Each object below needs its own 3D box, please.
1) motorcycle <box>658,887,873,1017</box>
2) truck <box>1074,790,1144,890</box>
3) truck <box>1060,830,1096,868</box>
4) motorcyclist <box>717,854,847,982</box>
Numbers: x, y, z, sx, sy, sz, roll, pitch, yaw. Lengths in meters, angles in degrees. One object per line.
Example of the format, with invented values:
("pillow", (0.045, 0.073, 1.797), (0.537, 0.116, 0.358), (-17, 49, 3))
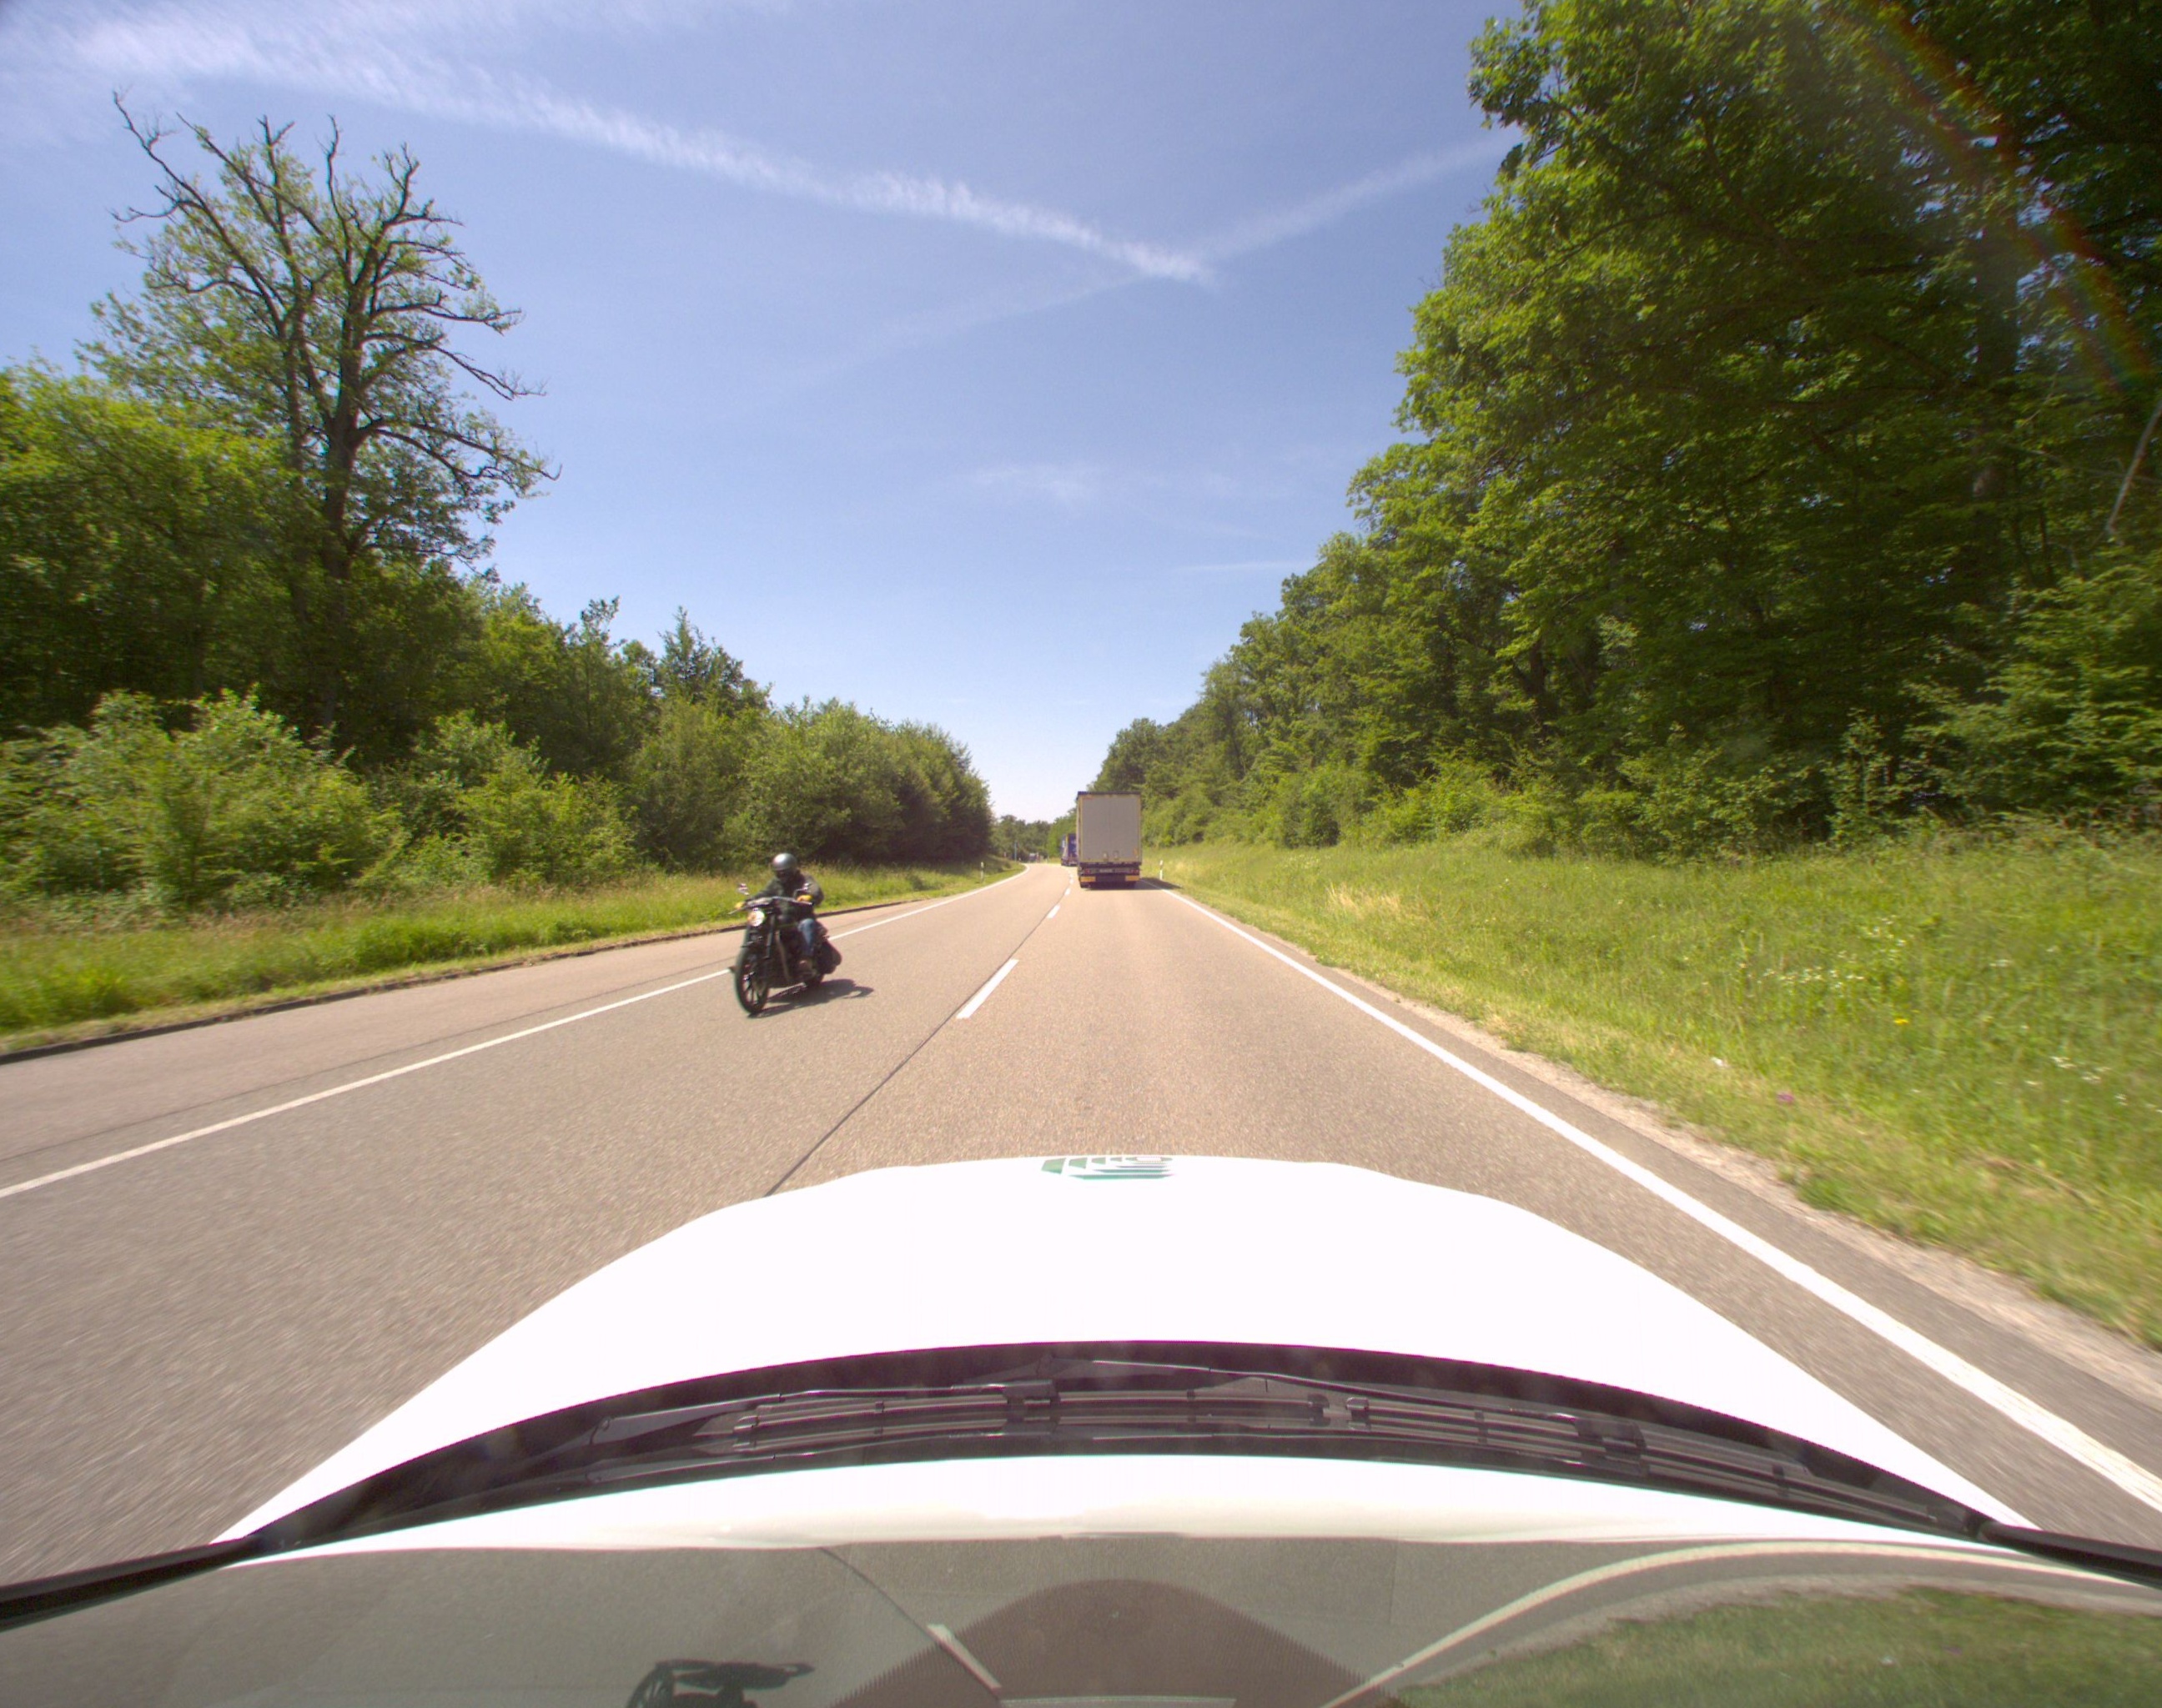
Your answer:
("motorcycle", (-3.262, 0.959, 8.872), (1.009, 1.062, 2.777), (-1, 0, 6))
("truck", (1.184, -0.554, 38.674), (2.752, 3.947, 12.198), (0, 0, 1))
("truck", (-0.560, -0.594, 103.732), (3.785, 4.373, 14.902), (0, 0, -3))
("motorcyclist", (-3.251, 0.666, 8.953), (1.004, 1.327, 0.967), (-1, 0, 6))
